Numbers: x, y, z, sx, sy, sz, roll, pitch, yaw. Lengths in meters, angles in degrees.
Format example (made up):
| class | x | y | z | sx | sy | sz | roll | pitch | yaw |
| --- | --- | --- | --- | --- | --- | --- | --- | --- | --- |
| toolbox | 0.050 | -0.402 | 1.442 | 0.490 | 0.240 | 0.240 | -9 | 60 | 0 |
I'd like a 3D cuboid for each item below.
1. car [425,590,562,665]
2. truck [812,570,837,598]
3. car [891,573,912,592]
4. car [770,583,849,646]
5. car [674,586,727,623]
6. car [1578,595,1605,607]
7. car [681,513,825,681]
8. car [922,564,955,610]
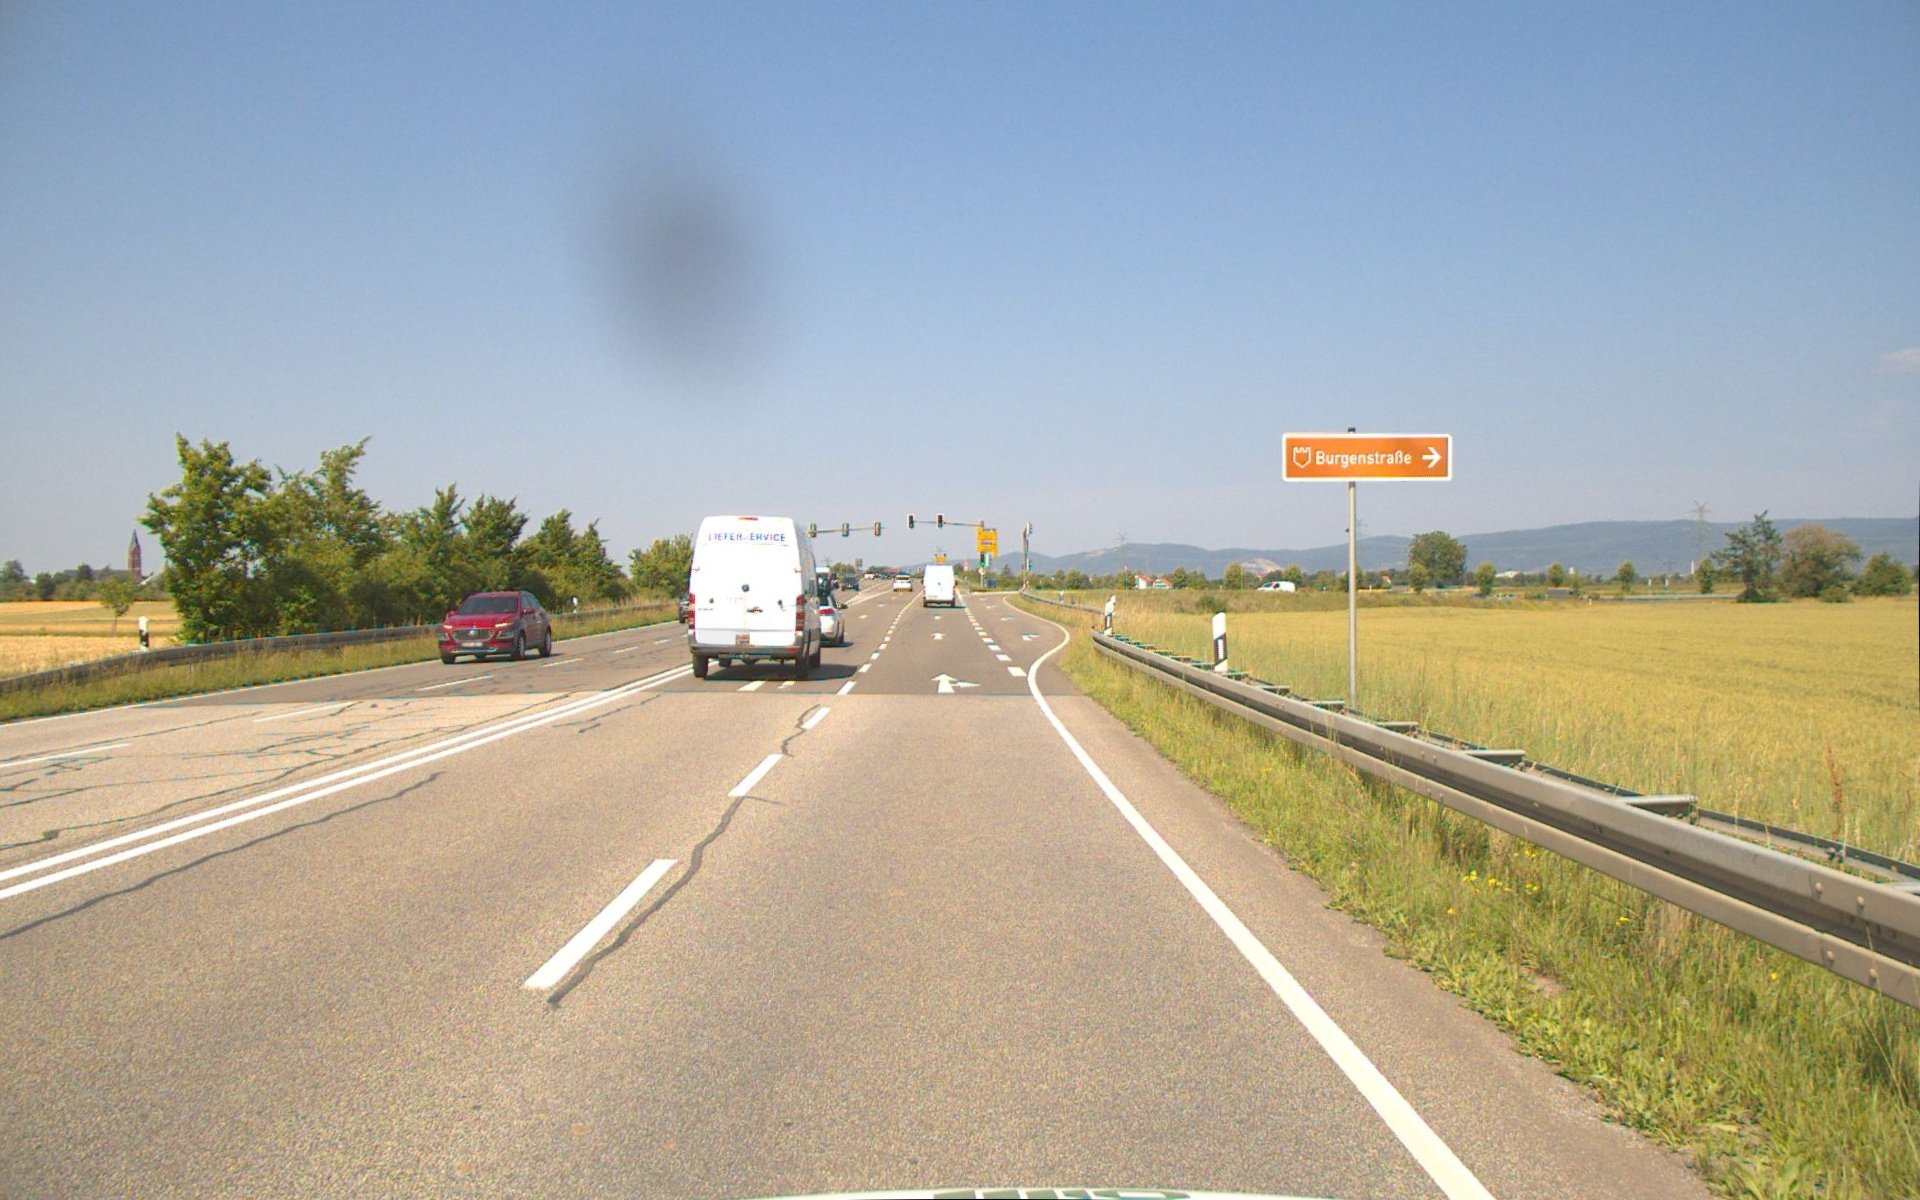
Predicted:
| class | x | y | z | sx | sy | sz | roll | pitch | yaw |
| --- | --- | --- | --- | --- | --- | --- | --- | --- | --- |
| car | -10.768 | 0.595 | 38.507 | 1.953 | 1.589 | 4.310 | -2 | 0 | 0 |
| truck | -14.988 | -1.721 | 183.485 | 2.250 | 3.009 | 5.283 | 0 | 0 | 0 |
| car | -5.714 | -1.691 | 162.246 | 1.953 | 1.733 | 4.274 | 1 | 0 | -1 |
| car | -3.887 | 0.340 | 43.224 | 1.763 | 1.534 | 4.195 | 0 | 1 | -1 |
| car | -11.493 | 0.173 | 73.411 | 1.783 | 1.534 | 4.126 | -2 | 1 | -2 |
| car | 84.094 | 0.132 | 220.291 | 3.438 | 1.512 | 1.632 | 1 | -1 | -31 |
| car | -3.557 | -0.031 | 29.432 | 1.998 | 2.666 | 5.738 | 1 | 0 | -2 |
| car | -1.316 | -0.799 | 100.802 | 1.953 | 2.742 | 4.968 | 0 | 0 | -1 |
